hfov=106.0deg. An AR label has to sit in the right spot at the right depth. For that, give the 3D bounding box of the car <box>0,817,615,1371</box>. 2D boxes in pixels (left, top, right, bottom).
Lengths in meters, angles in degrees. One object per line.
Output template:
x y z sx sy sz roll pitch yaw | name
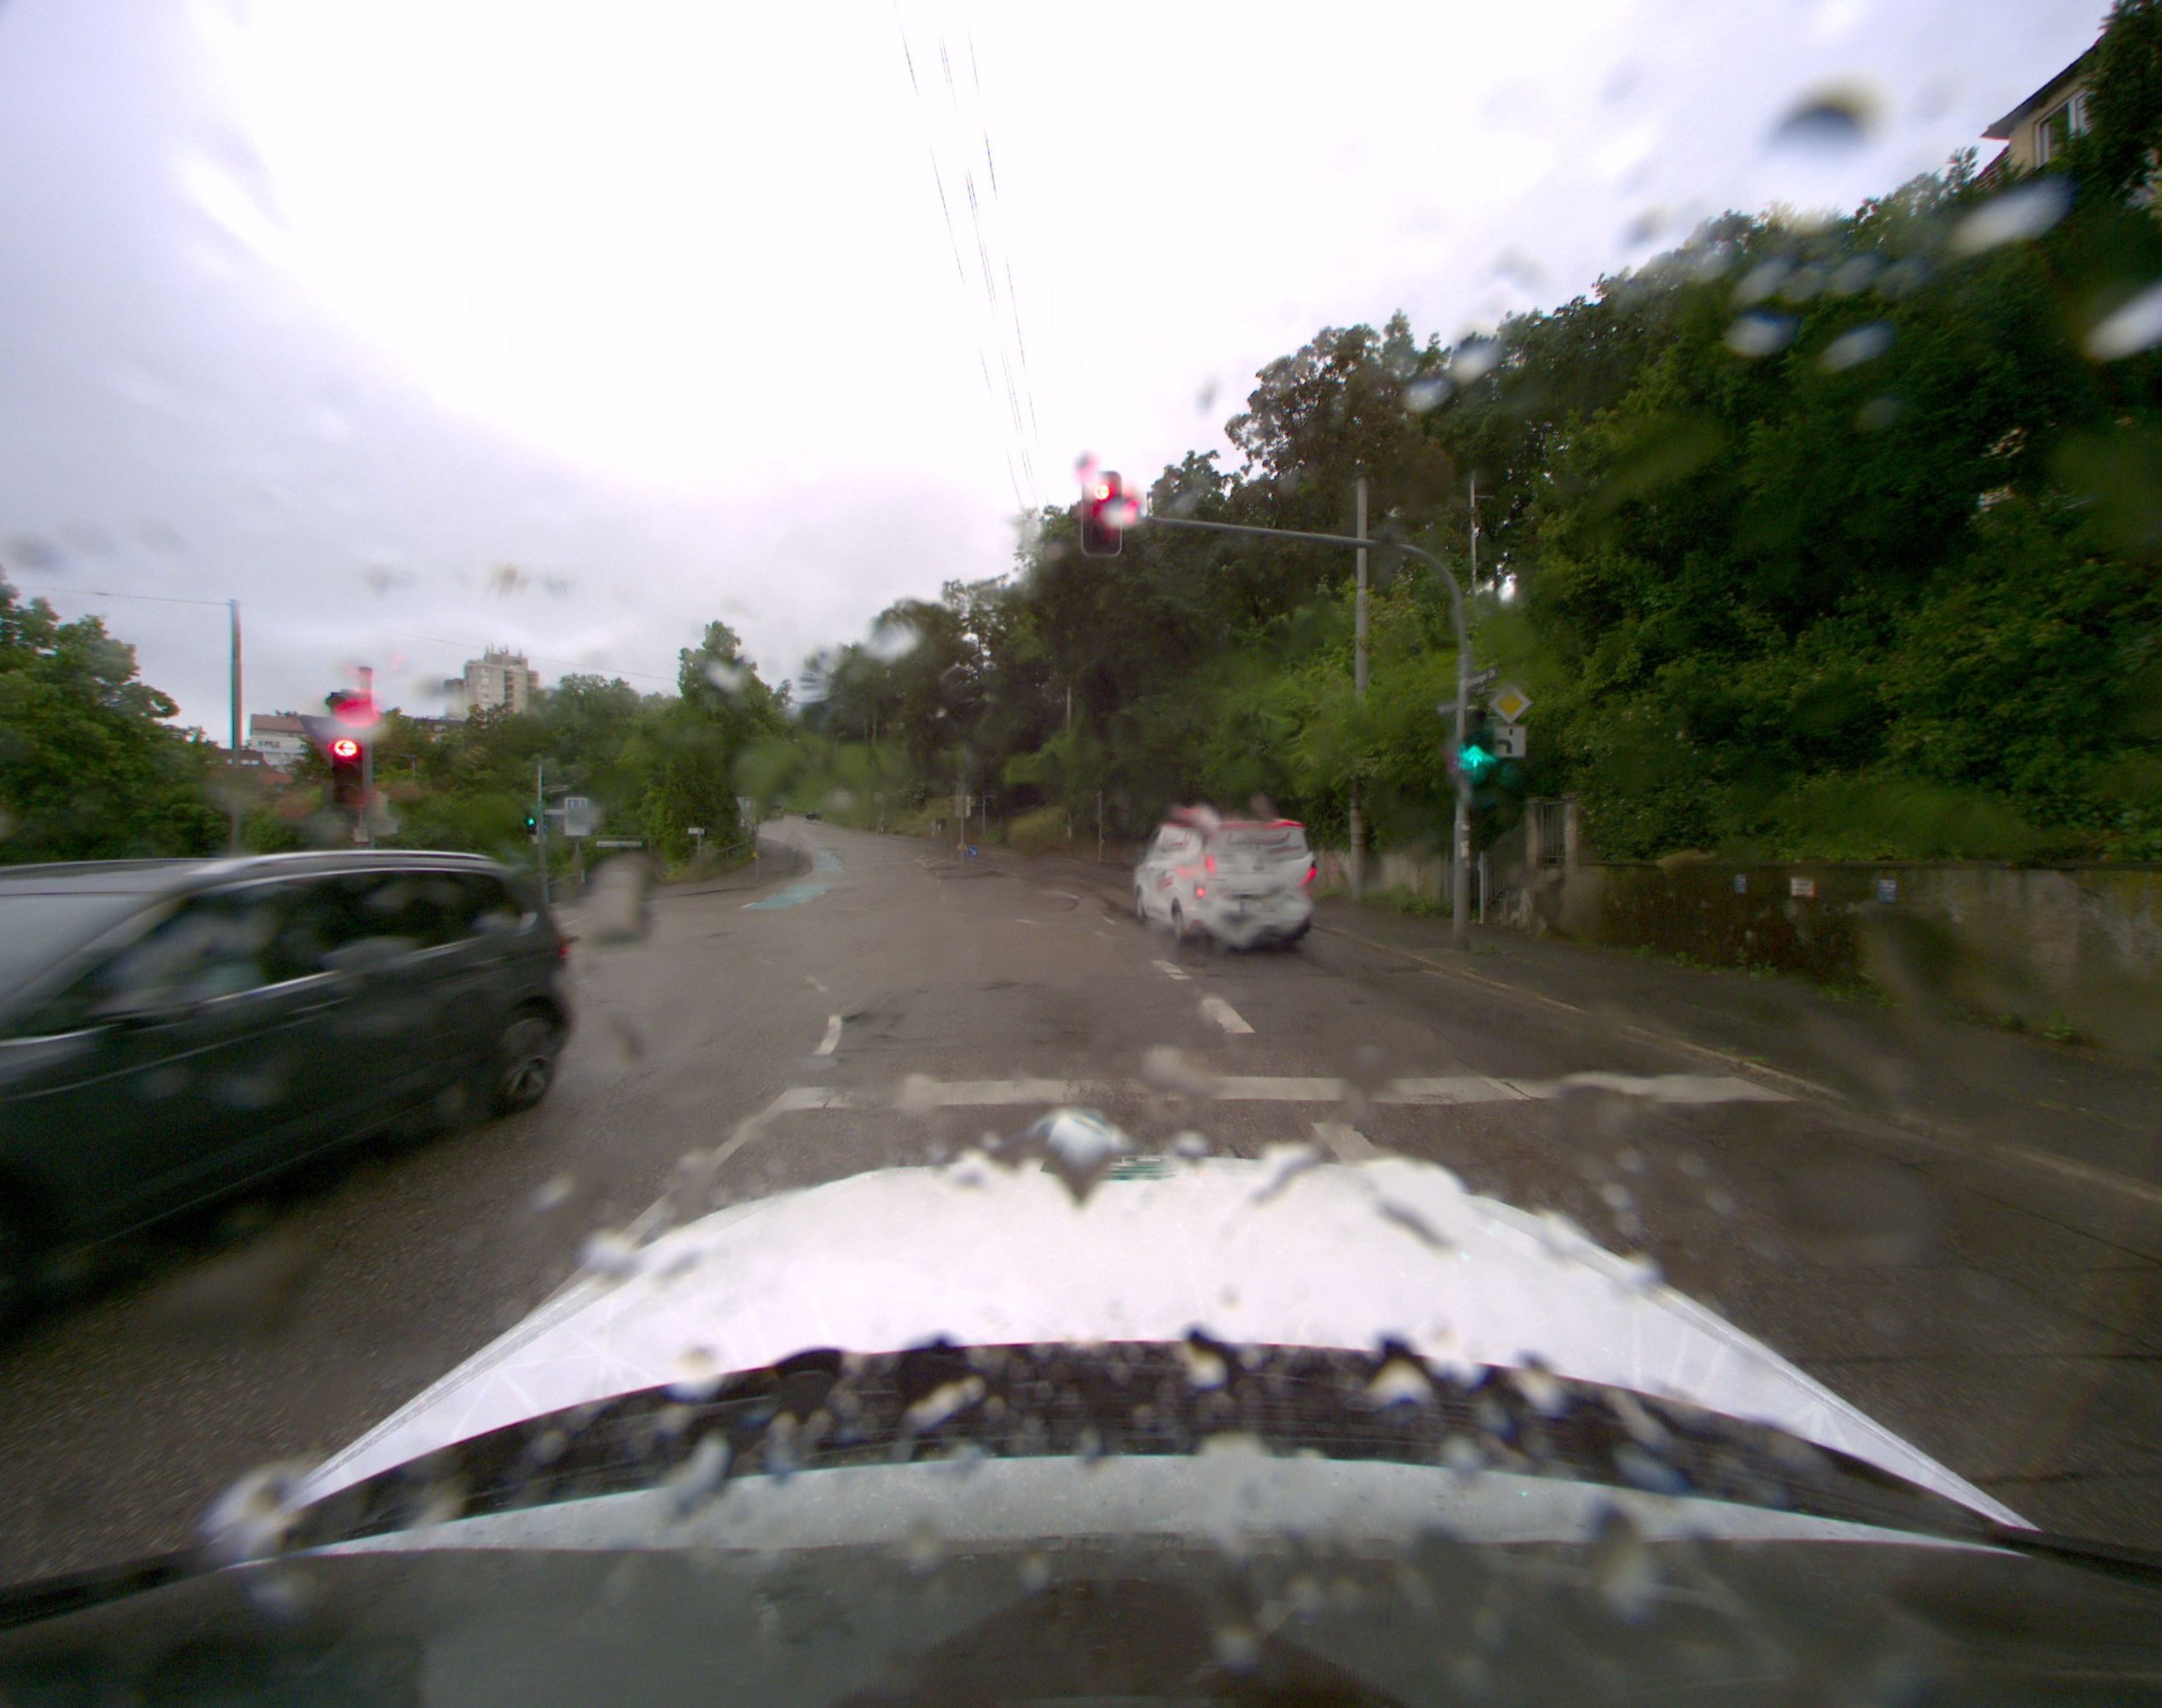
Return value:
-4.268 0.774 3.749 1.844 1.680 4.170 -3 0 -2 | car

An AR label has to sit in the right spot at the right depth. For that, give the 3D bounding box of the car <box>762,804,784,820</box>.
-36.328 -4.891 95.928 1.929 1.780 3.964 -1 2 -28 | car

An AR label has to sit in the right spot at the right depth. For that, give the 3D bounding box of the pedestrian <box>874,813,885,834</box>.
-16.990 -2.553 68.724 0.883 1.736 0.860 -1 -1 -17 | pedestrian

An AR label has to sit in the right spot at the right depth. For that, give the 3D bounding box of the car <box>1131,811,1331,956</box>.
2.289 0.364 13.944 2.063 2.006 4.804 -1 1 -6 | car

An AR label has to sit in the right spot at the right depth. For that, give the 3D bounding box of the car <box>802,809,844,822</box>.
-30.431 -4.563 96.063 4.359 1.511 1.970 1 3 13 | car
